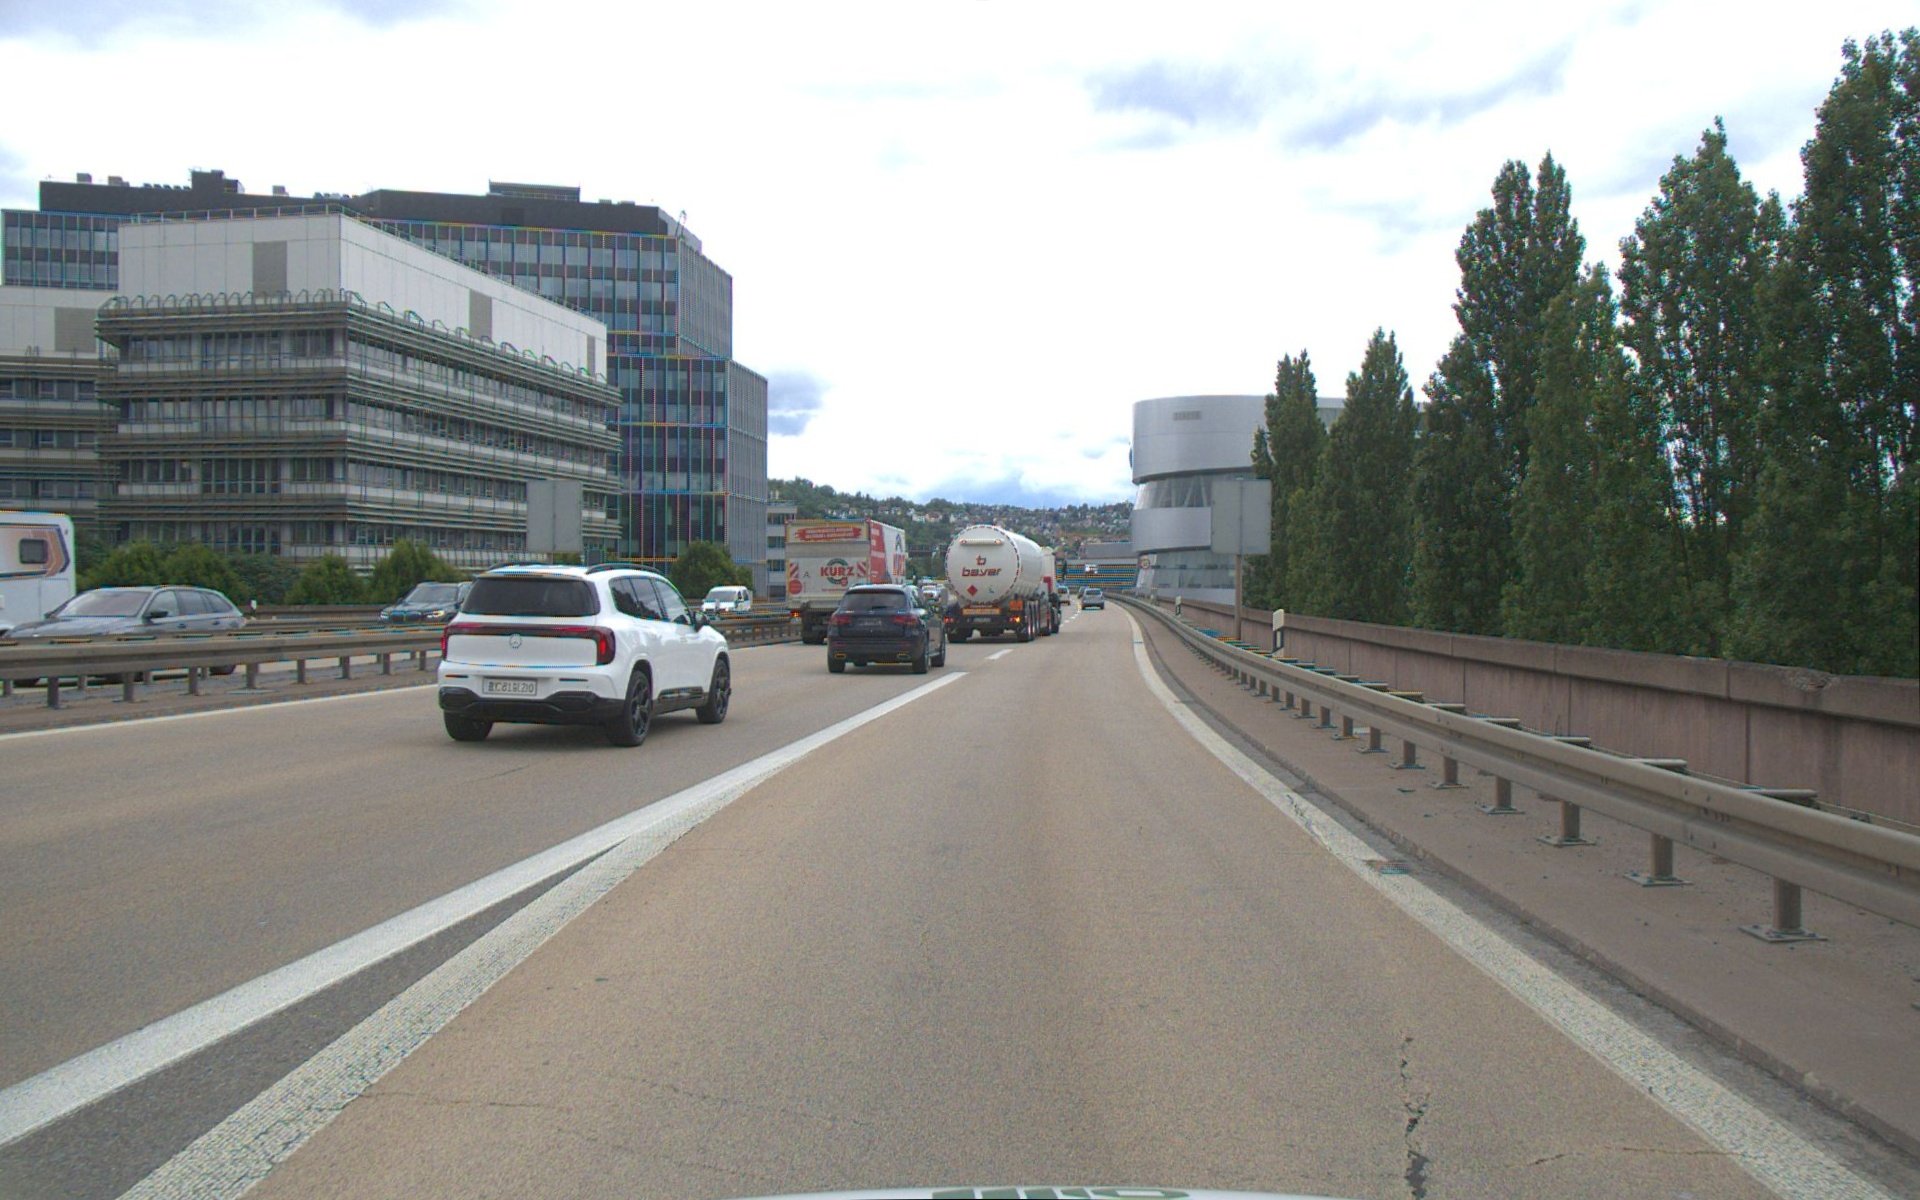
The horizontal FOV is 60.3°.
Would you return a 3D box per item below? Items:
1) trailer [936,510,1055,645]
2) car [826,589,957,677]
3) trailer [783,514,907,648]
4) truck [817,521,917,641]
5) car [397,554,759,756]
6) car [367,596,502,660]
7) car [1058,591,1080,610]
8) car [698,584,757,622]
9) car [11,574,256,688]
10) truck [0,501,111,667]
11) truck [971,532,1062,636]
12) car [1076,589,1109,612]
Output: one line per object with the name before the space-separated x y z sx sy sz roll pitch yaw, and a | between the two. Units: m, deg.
trailer | 1.343 -0.680 53.078 2.732 3.802 11.163 -1 0 6
car | -1.227 0.588 31.697 1.807 1.531 4.268 1 0 7
trailer | -3.386 -0.570 50.686 2.634 3.754 7.317 -1 0 5
truck | -3.018 -0.614 54.835 2.634 3.754 4.442 -1 0 5
car | -3.678 0.488 17.028 1.951 1.697 4.896 2 0 8
car | -14.873 0.750 47.094 1.951 1.664 4.635 -1 0 6
car | 10.614 0.053 161.774 1.953 1.564 4.001 5 -1 2
car | -11.150 0.133 79.433 1.828 1.741 4.604 -1 0 4
car | -12.669 0.434 25.604 1.610 1.613 3.721 -1 0 6
truck | -16.767 -0.225 25.818 2.437 2.672 7.354 -1 0 8
truck | 2.117 -0.568 59.825 2.710 3.490 5.970 -1 0 7
car | 10.675 0.059 133.350 1.952 1.564 4.003 6 0 13
